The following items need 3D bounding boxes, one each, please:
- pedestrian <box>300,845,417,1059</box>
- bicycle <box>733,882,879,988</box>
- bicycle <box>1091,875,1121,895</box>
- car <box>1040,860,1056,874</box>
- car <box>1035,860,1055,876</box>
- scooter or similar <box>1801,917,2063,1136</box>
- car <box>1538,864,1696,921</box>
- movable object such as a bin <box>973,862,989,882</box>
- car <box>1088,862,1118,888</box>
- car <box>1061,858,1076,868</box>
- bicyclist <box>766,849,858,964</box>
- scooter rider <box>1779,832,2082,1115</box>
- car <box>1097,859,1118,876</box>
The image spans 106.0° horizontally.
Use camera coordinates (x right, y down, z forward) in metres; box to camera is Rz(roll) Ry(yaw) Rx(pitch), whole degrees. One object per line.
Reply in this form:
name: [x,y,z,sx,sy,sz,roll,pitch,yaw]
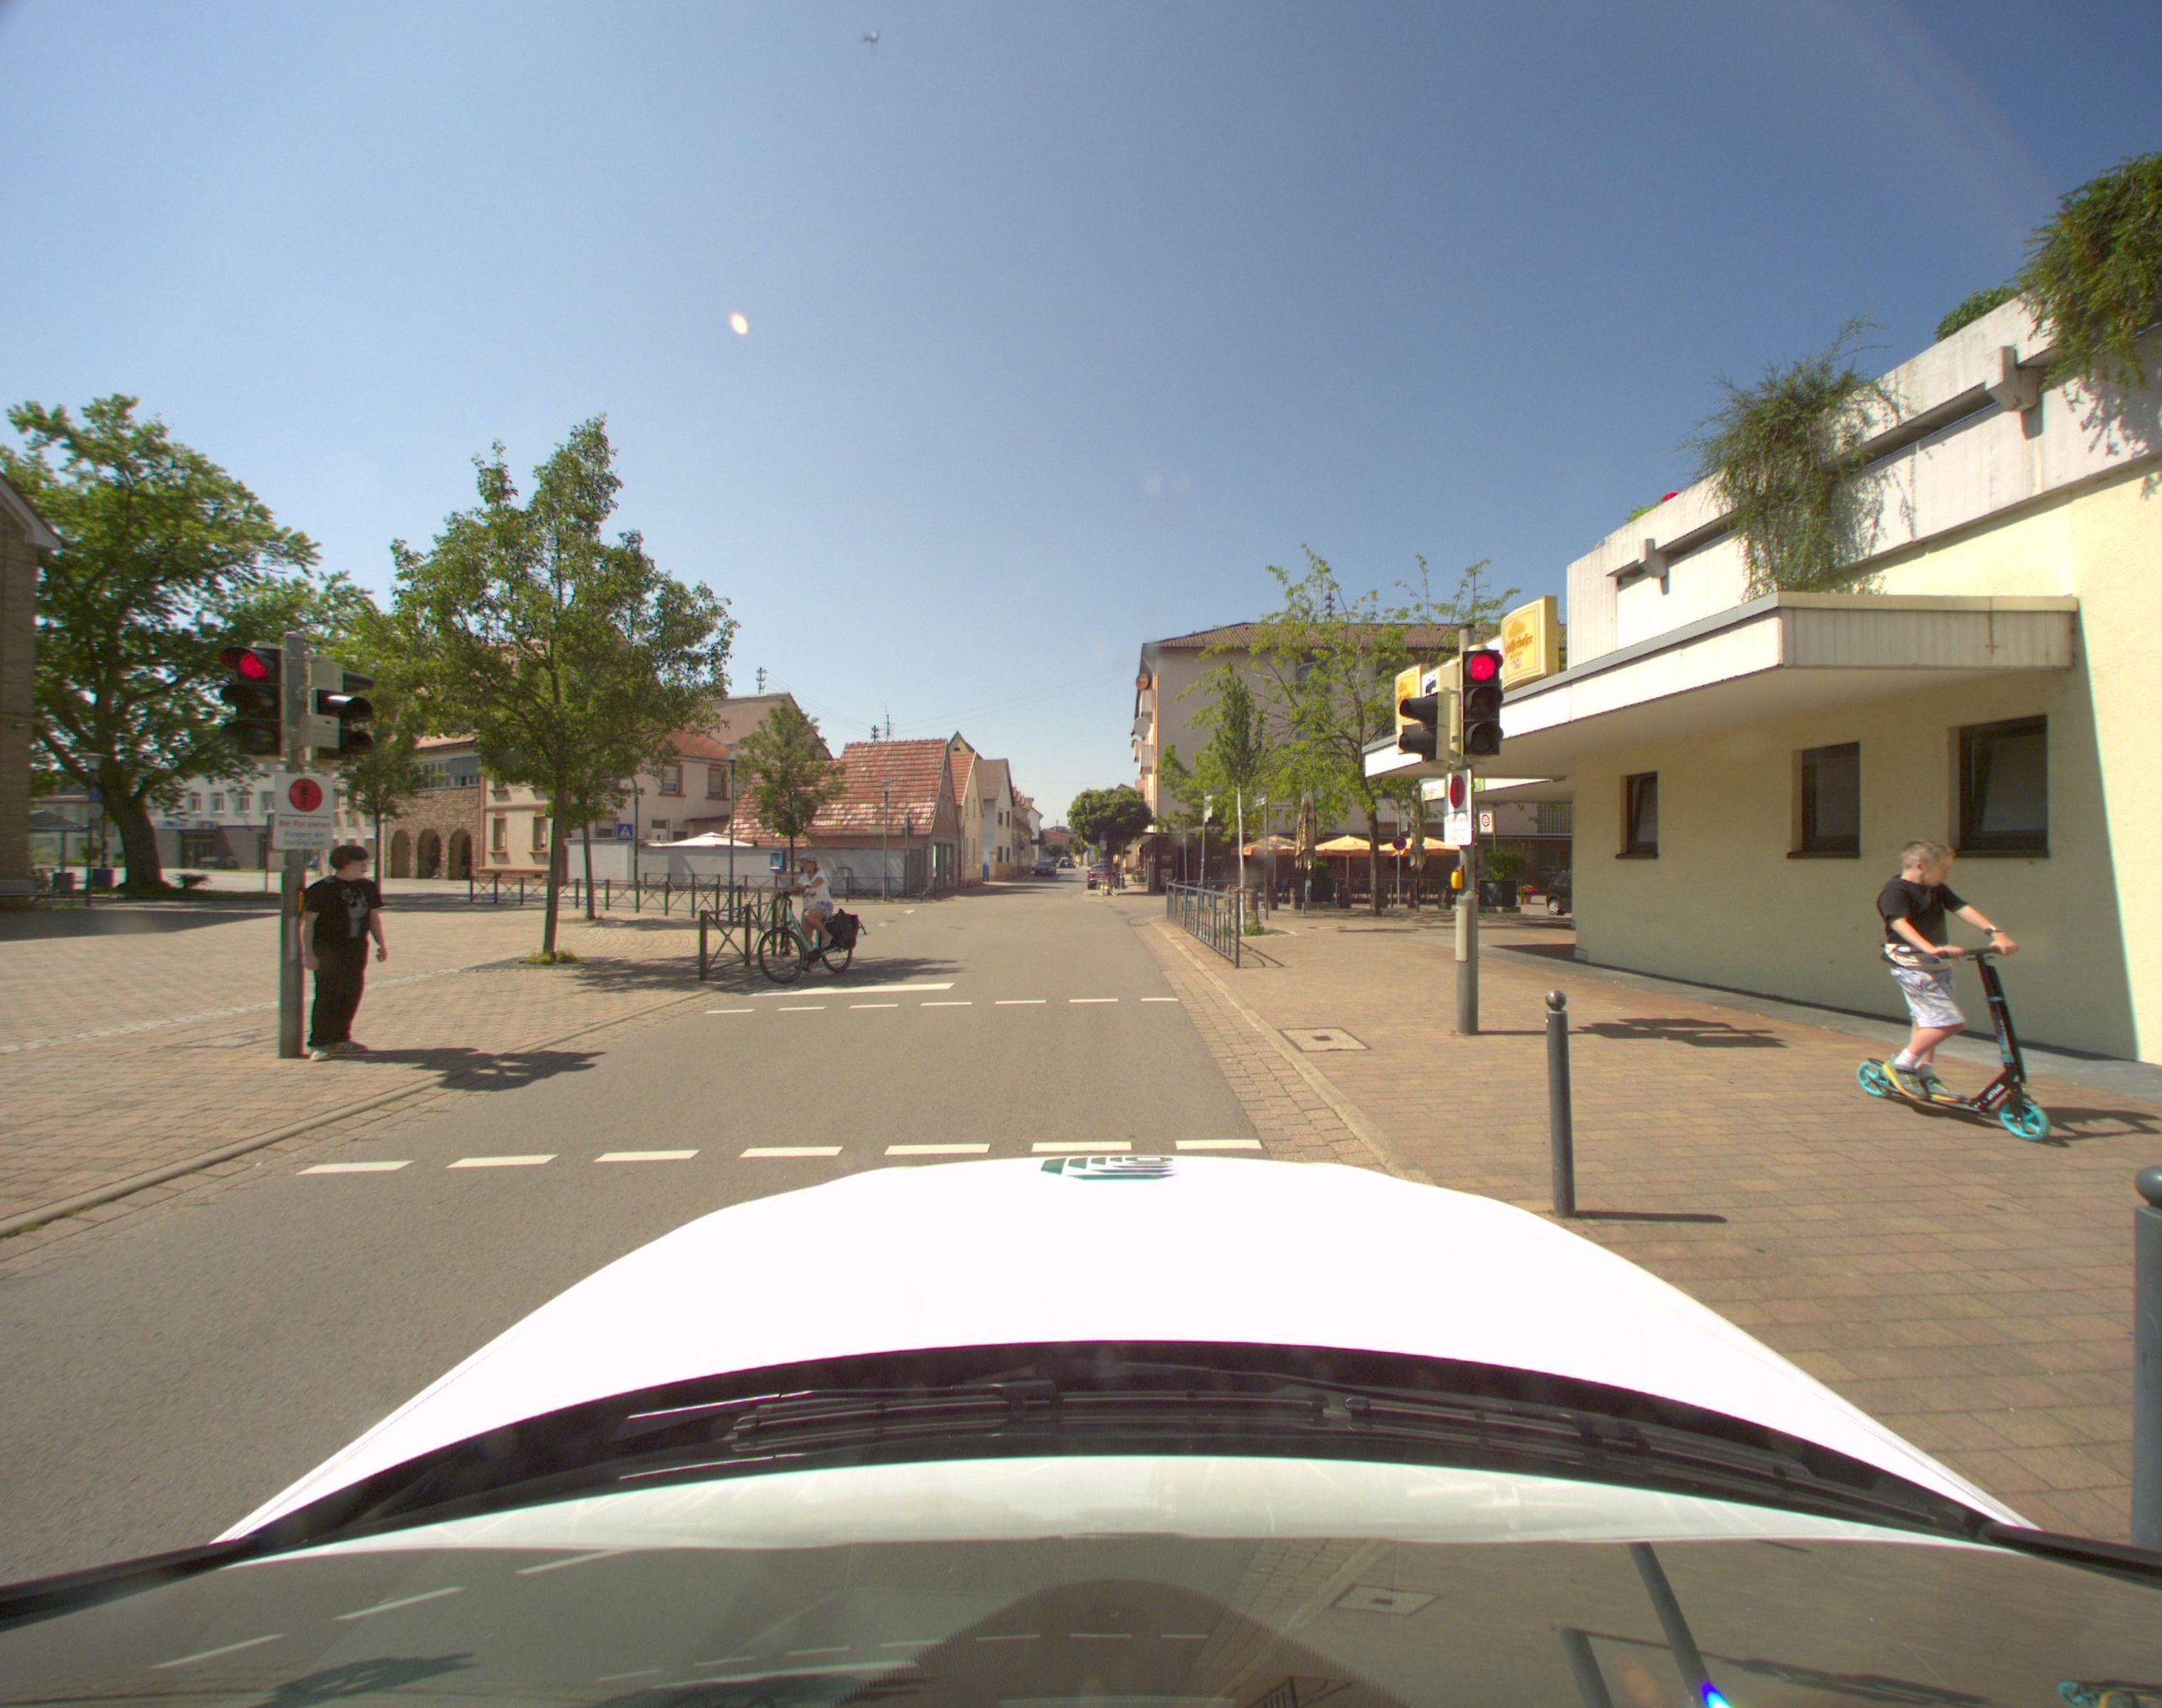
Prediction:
pedestrian: [-5.821,0.752,6.570,0.543,1.619,0.561,-1,-2,35]
bicycle: [-3.722,1.053,11.224,0.702,1.252,1.983,-2,-1,24]
bicycle: [1.196,1.479,38.661,1.396,0.897,0.468,-2,0,38]
car: [-3.453,1.329,84.988,1.659,1.476,3.448,0,-1,-2]
car: [-3.435,1.308,78.429,1.657,1.476,4.135,0,-1,1]
scooter or similar: [4.452,0.855,4.336,0.409,0.965,0.961,0,-1,3]
car: [15.248,1.054,23.445,1.763,1.510,3.965,1,-1,-4]
movable object such as a bin: [-7.012,1.261,57.080,1.096,1.366,0.390,0,-1,5]
car: [1.303,1.192,47.291,1.569,1.454,3.489,-1,-1,4]
car: [-1.979,1.493,129.338,1.907,1.481,4.831,0,-1,-7]
bicyclist: [-3.734,0.718,11.356,0.708,1.506,0.876,-5,-2,24]
scooter rider: [4.468,0.564,4.386,0.460,1.325,1.134,0,-1,2]
car: [2.665,1.325,81.150,2.035,1.689,4.843,0,-1,2]
